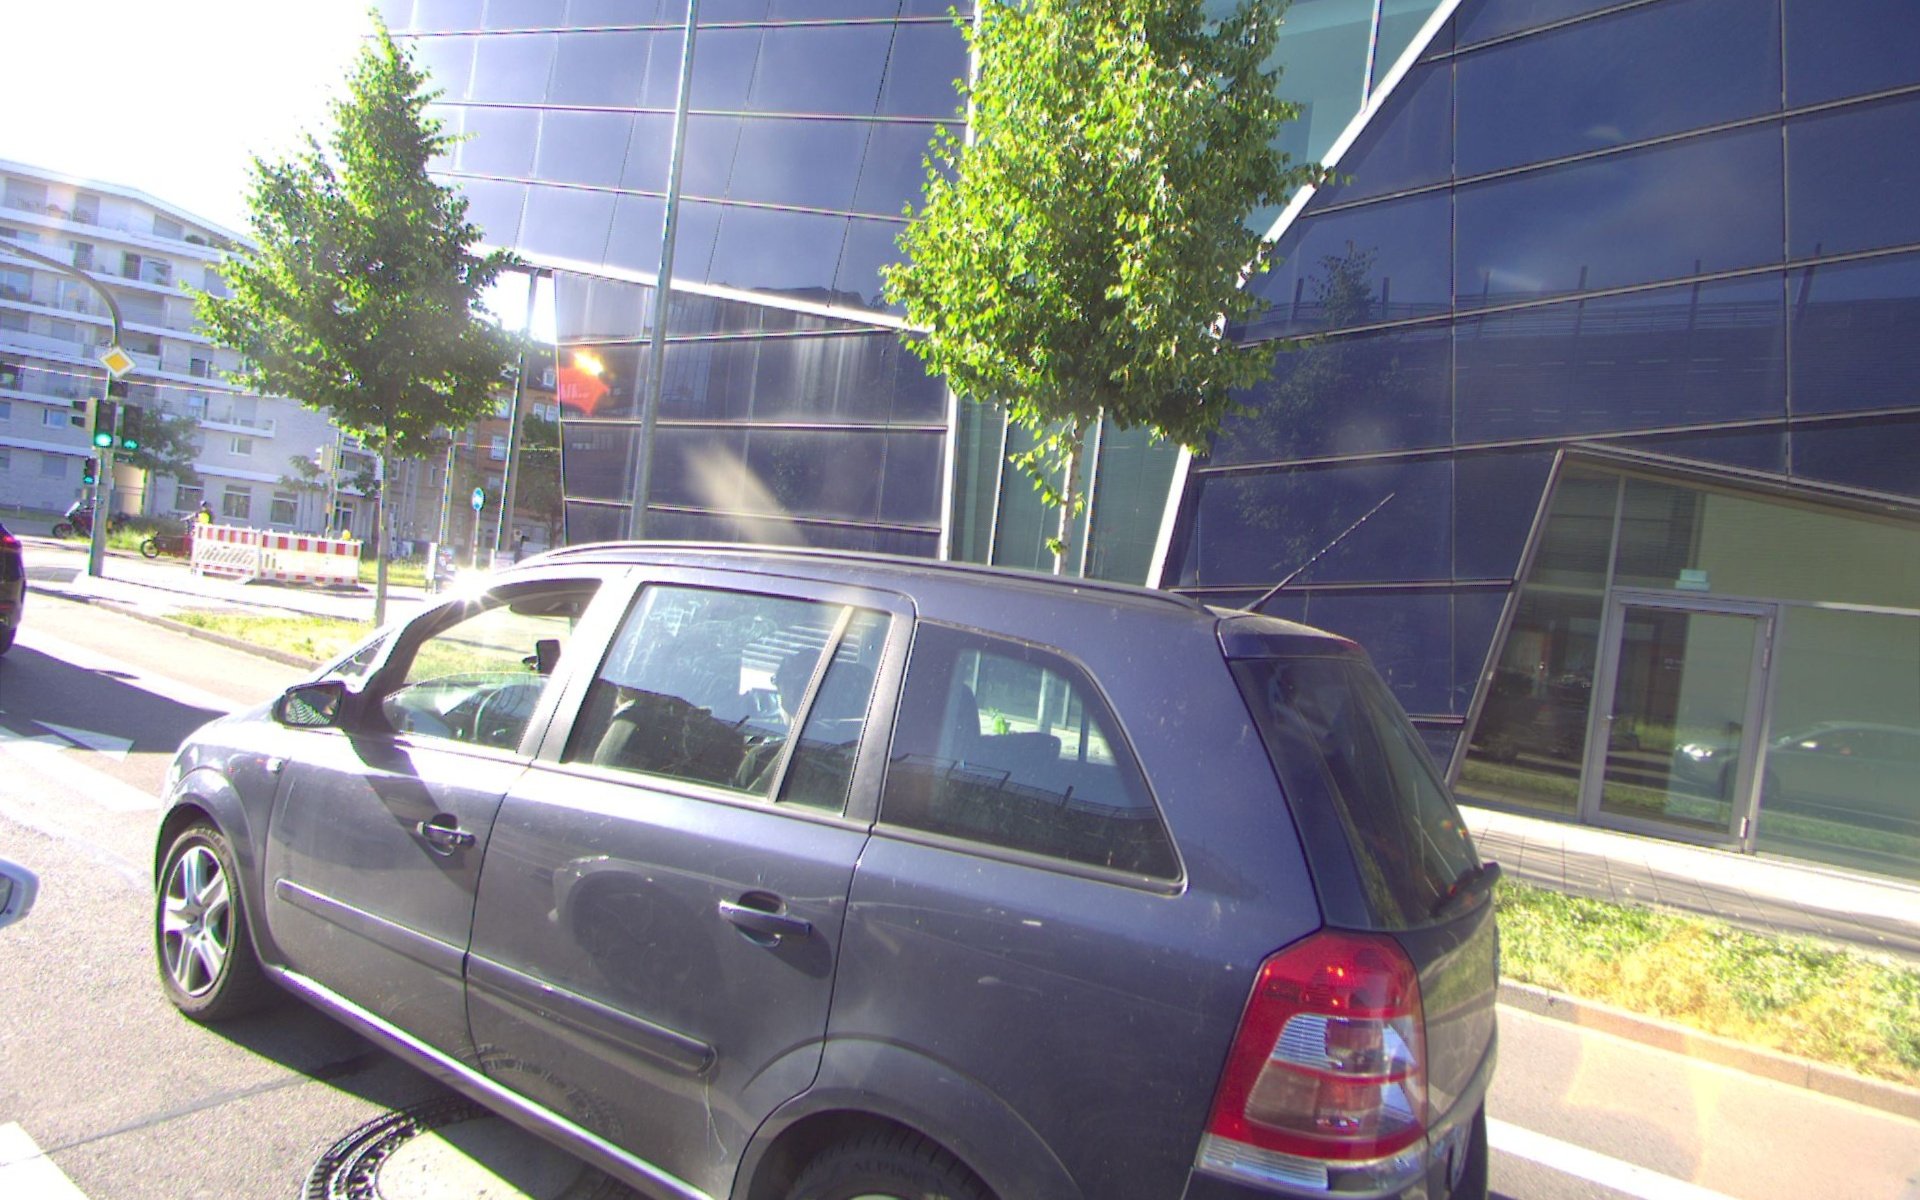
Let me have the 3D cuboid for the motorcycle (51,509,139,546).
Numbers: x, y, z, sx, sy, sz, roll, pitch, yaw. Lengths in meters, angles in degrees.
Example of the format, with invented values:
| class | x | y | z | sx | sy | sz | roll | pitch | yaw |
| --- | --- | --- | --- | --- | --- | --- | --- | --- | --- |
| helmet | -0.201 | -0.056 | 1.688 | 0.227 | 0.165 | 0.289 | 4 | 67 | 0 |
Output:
| class | x | y | z | sx | sy | sz | roll | pitch | yaw |
| --- | --- | --- | --- | --- | --- | --- | --- | --- | --- |
| motorcycle | -32.780 | -2.736 | 38.145 | 2.444 | 1.013 | 1.157 | 7 | 0 | -43 |

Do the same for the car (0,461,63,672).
| class | x | y | z | sx | sy | sz | roll | pitch | yaw |
| --- | --- | --- | --- | --- | --- | --- | --- | --- | --- |
| car | -10.130 | -0.574 | 8.896 | 4.299 | 1.735 | 2.007 | 7 | -1 | 32 |

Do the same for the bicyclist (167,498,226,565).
| class | x | y | z | sx | sy | sz | roll | pitch | yaw |
| --- | --- | --- | --- | --- | --- | --- | --- | --- | --- |
| bicyclist | -21.405 | -1.915 | 28.223 | 0.912 | 1.728 | 0.769 | 7 | 1 | 8 |

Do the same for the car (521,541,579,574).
| class | x | y | z | sx | sy | sz | roll | pitch | yaw |
| --- | --- | --- | --- | --- | --- | --- | --- | --- | --- |
| car | -36.080 | -3.712 | 88.593 | 4.542 | 2.339 | 1.989 | 7 | 0 | -23 |

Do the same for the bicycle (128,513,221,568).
| class | x | y | z | sx | sy | sz | roll | pitch | yaw |
| --- | --- | --- | --- | --- | --- | --- | --- | --- | --- |
| bicycle | -22.096 | -1.662 | 28.310 | 2.042 | 1.278 | 0.769 | 7 | 1 | 8 |

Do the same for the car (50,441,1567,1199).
| class | x | y | z | sx | sy | sz | roll | pitch | yaw |
| --- | --- | --- | --- | --- | --- | --- | --- | --- | --- |
| car | -0.718 | 0.615 | 3.055 | 4.189 | 1.715 | 1.750 | 7 | -2 | 31 |

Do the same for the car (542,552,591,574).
| class | x | y | z | sx | sy | sz | roll | pitch | yaw |
| --- | --- | --- | --- | --- | --- | --- | --- | --- | --- |
| car | -31.466 | -2.985 | 80.482 | 3.944 | 1.371 | 1.990 | 6 | 0 | 41 |

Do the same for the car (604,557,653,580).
| class | x | y | z | sx | sy | sz | roll | pitch | yaw |
| --- | --- | --- | --- | --- | --- | --- | --- | --- | --- |
| car | -27.416 | -2.642 | 83.153 | 3.944 | 1.505 | 1.990 | 6 | 0 | 41 |

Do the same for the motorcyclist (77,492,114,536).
| class | x | y | z | sx | sy | sz | roll | pitch | yaw |
| --- | --- | --- | --- | --- | --- | --- | --- | --- | --- |
| motorcyclist | -32.744 | -3.245 | 38.093 | 0.921 | 1.500 | 1.158 | 6 | 1 | -42 |
